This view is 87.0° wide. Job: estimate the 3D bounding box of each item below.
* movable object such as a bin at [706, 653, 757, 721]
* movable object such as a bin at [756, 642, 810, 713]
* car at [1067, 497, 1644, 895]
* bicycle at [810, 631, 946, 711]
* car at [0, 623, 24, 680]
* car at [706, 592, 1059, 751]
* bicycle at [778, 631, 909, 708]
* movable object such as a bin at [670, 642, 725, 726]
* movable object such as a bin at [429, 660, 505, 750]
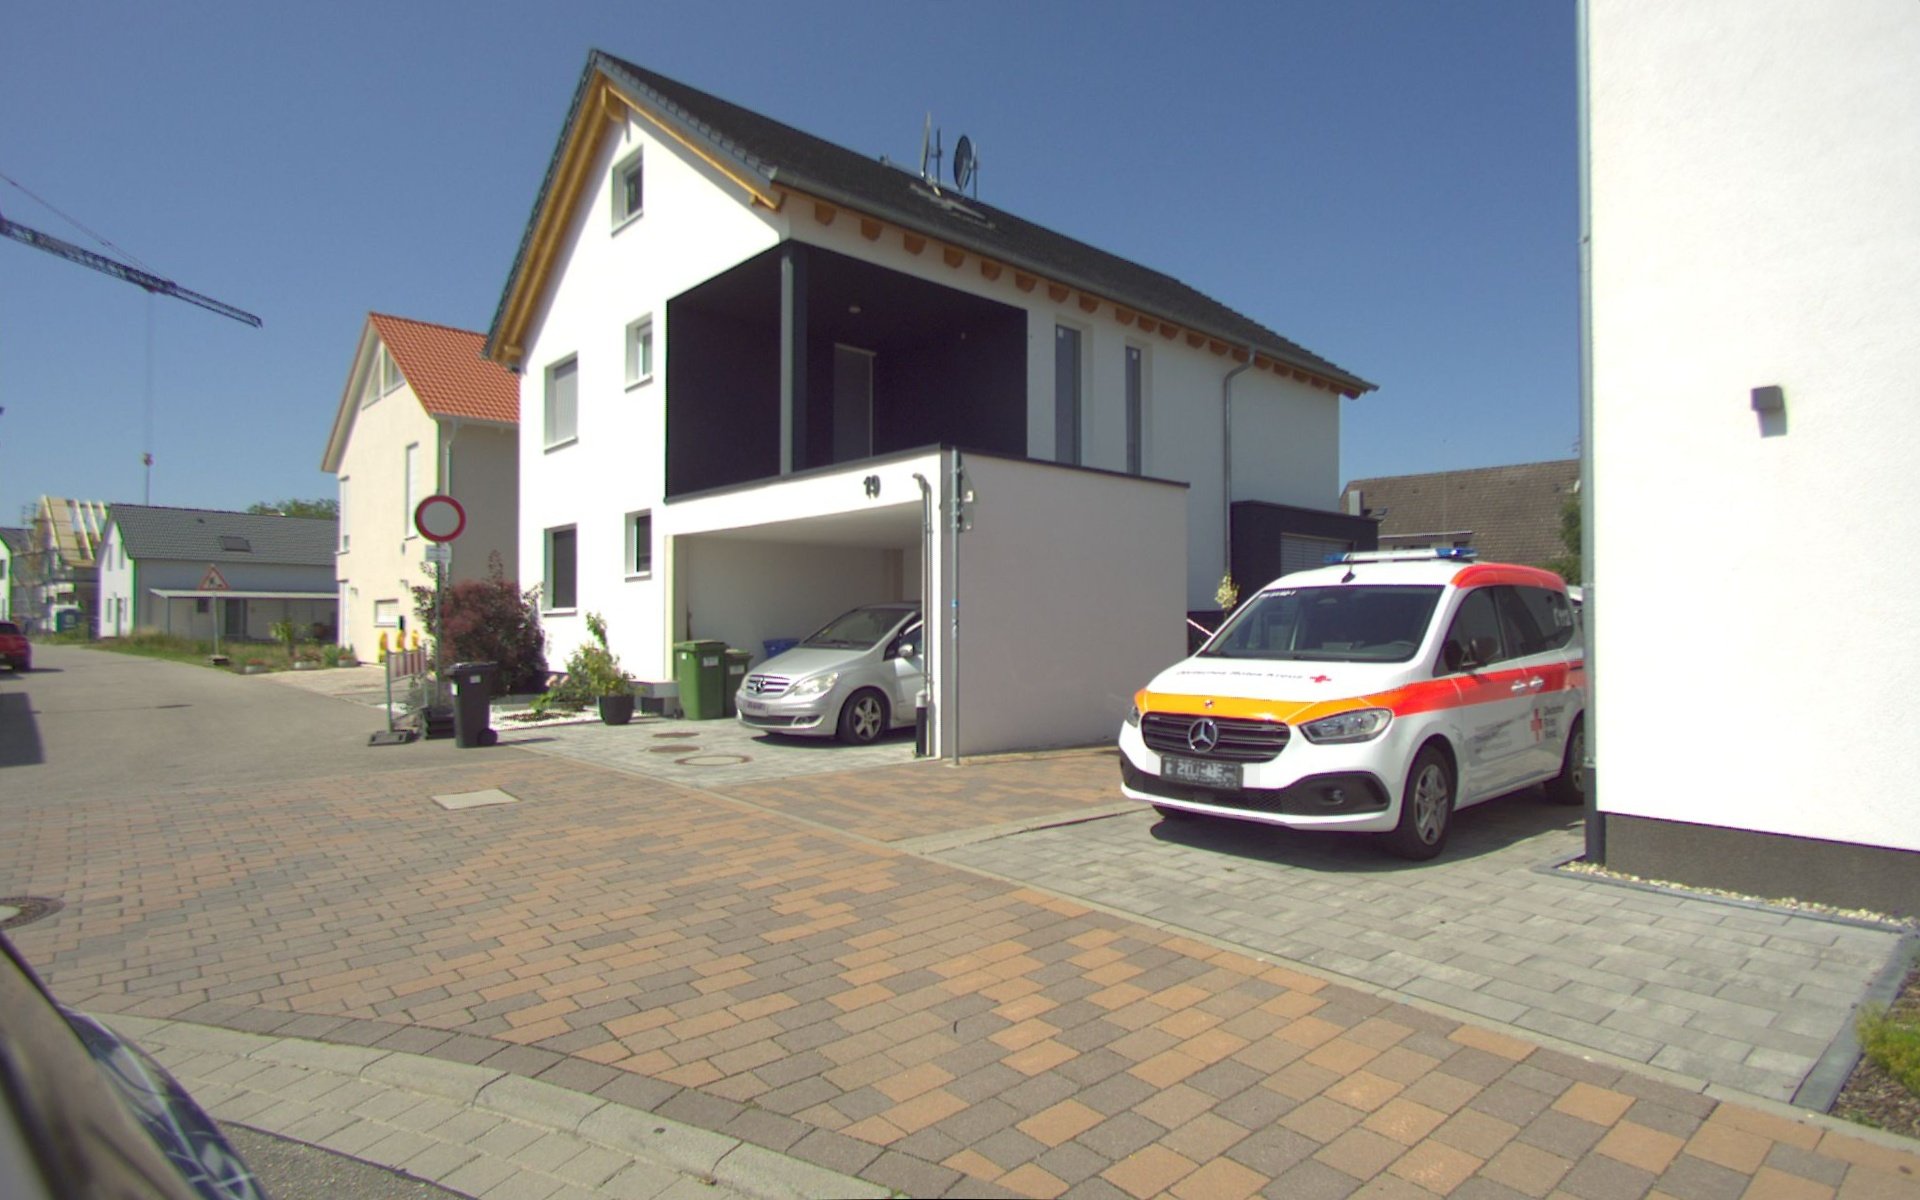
[{"bbox_3d":[-3.234,1.222,14.323,0.492,0.912,0.562,1,-2,-44],"label":"movable object such as a bin"},{"bbox_3d":[-2.625,1.131,14.985,0.492,0.994,0.677,1,-1,-44],"label":"movable object such as a bin"},{"bbox_3d":[3.024,0.521,7.128,4.679,1.889,1.940,2,-2,-43],"label":"car"},{"bbox_3d":[-1.230,1.054,15.609,2.101,1.135,0.732,1,-1,-44],"label":"bicycle"},{"bbox_3d":[-27.931,1.439,28.728,1.884,1.490,4.003,1,-1,-44],"label":"car"},{"bbox_3d":[-0.772,0.778,12.140,1.746,1.574,4.105,-2,-3,44],"label":"car"},{"bbox_3d":[-1.847,1.083,16.334,0.779,1.135,2.103,0,-1,42],"label":"bicycle"},{"bbox_3d":[-3.609,1.143,13.890,0.492,1.100,0.602,1,-3,-44],"label":"movable object such as a bin"},{"bbox_3d":[-5.492,1.151,11.273,0.609,0.944,0.565,1,-2,-44],"label":"movable object such as a bin"}]
